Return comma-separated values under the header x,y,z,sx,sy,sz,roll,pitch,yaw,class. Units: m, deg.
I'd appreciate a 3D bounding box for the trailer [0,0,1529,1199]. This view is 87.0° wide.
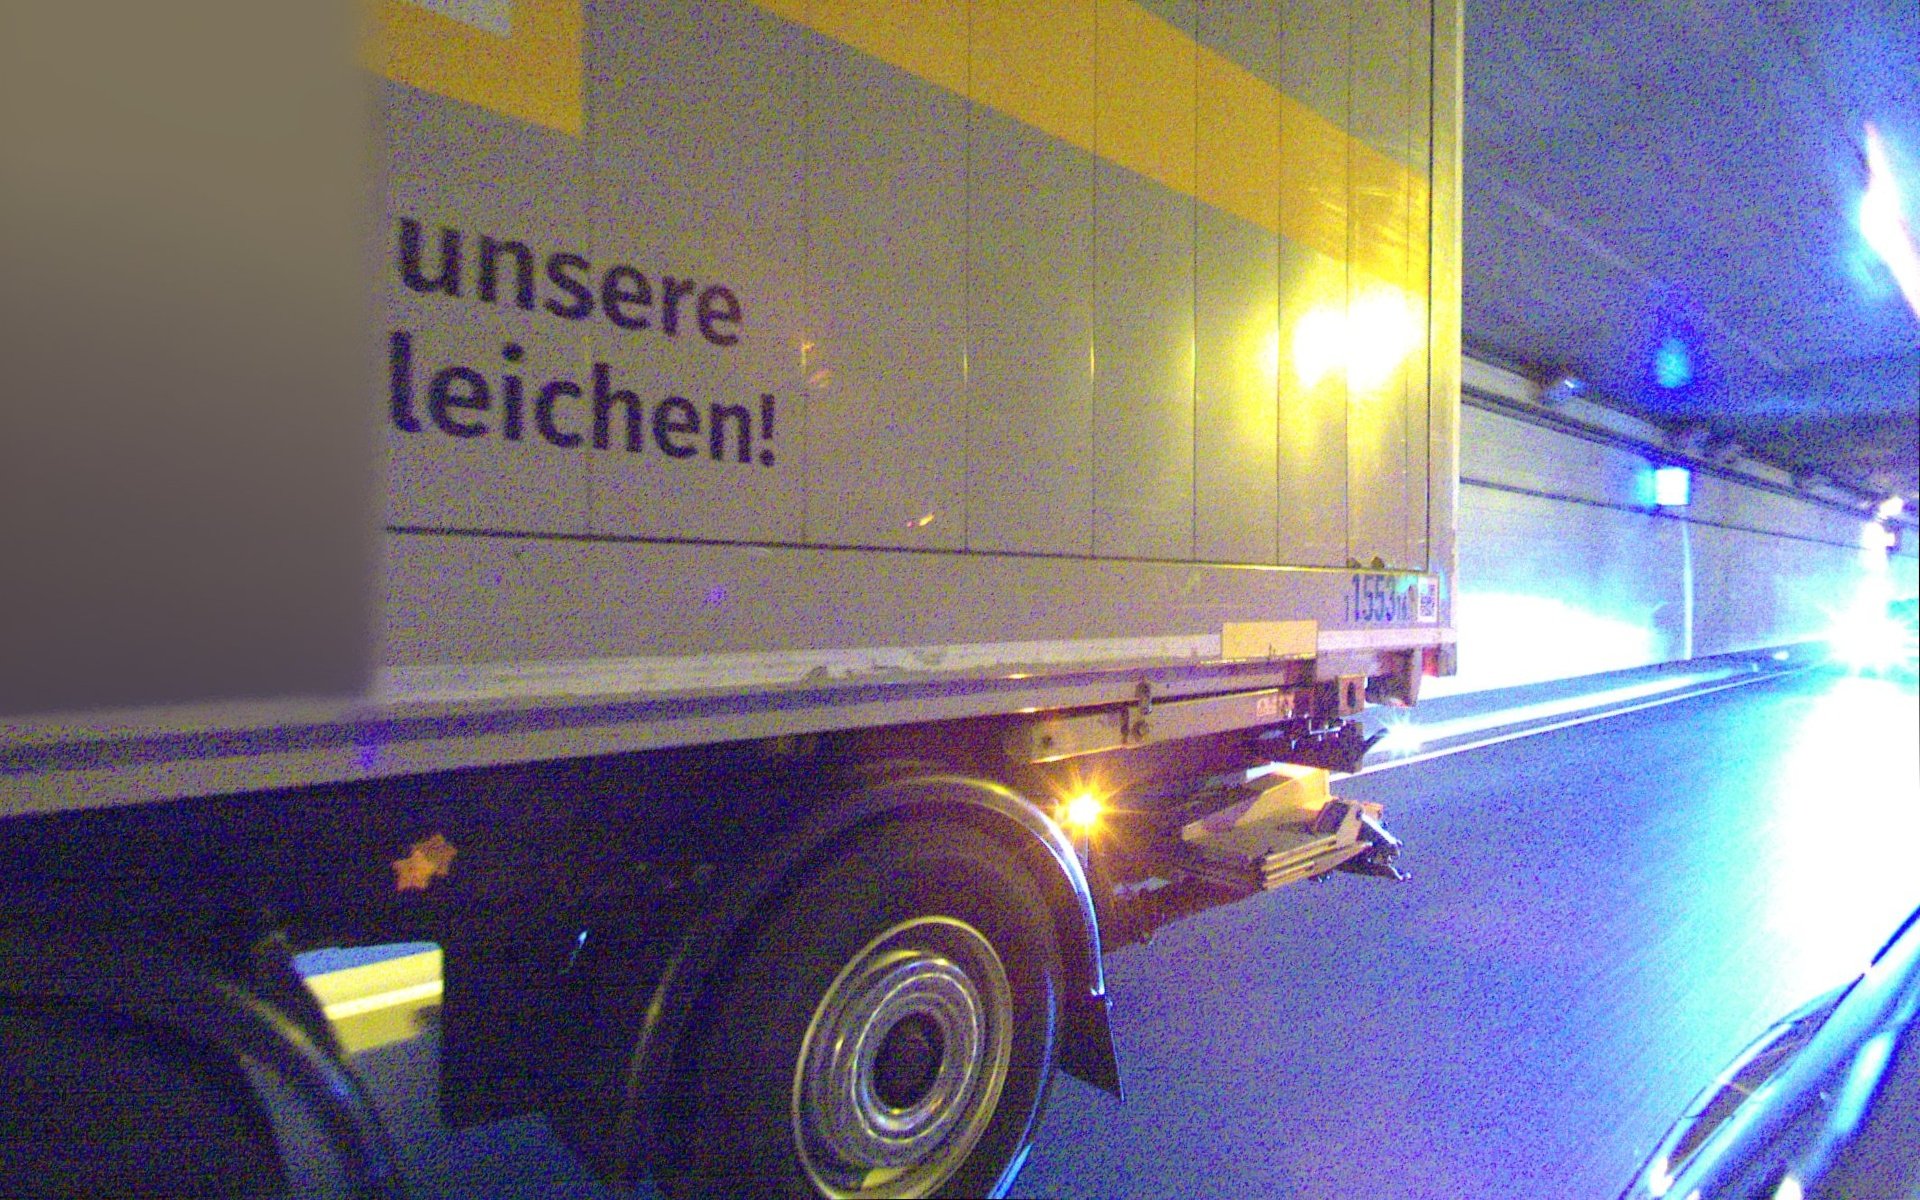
x,y,z,sx,sy,sz,roll,pitch,yaw,class
-2.210,-0.590,1.869,8.790,3.907,2.880,0,0,-41,trailer

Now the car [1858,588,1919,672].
x,y,z,sx,sy,sz,roll,pitch,yaw,class
17.902,0.506,18.530,3.733,1.420,1.733,-1,1,-41,car
